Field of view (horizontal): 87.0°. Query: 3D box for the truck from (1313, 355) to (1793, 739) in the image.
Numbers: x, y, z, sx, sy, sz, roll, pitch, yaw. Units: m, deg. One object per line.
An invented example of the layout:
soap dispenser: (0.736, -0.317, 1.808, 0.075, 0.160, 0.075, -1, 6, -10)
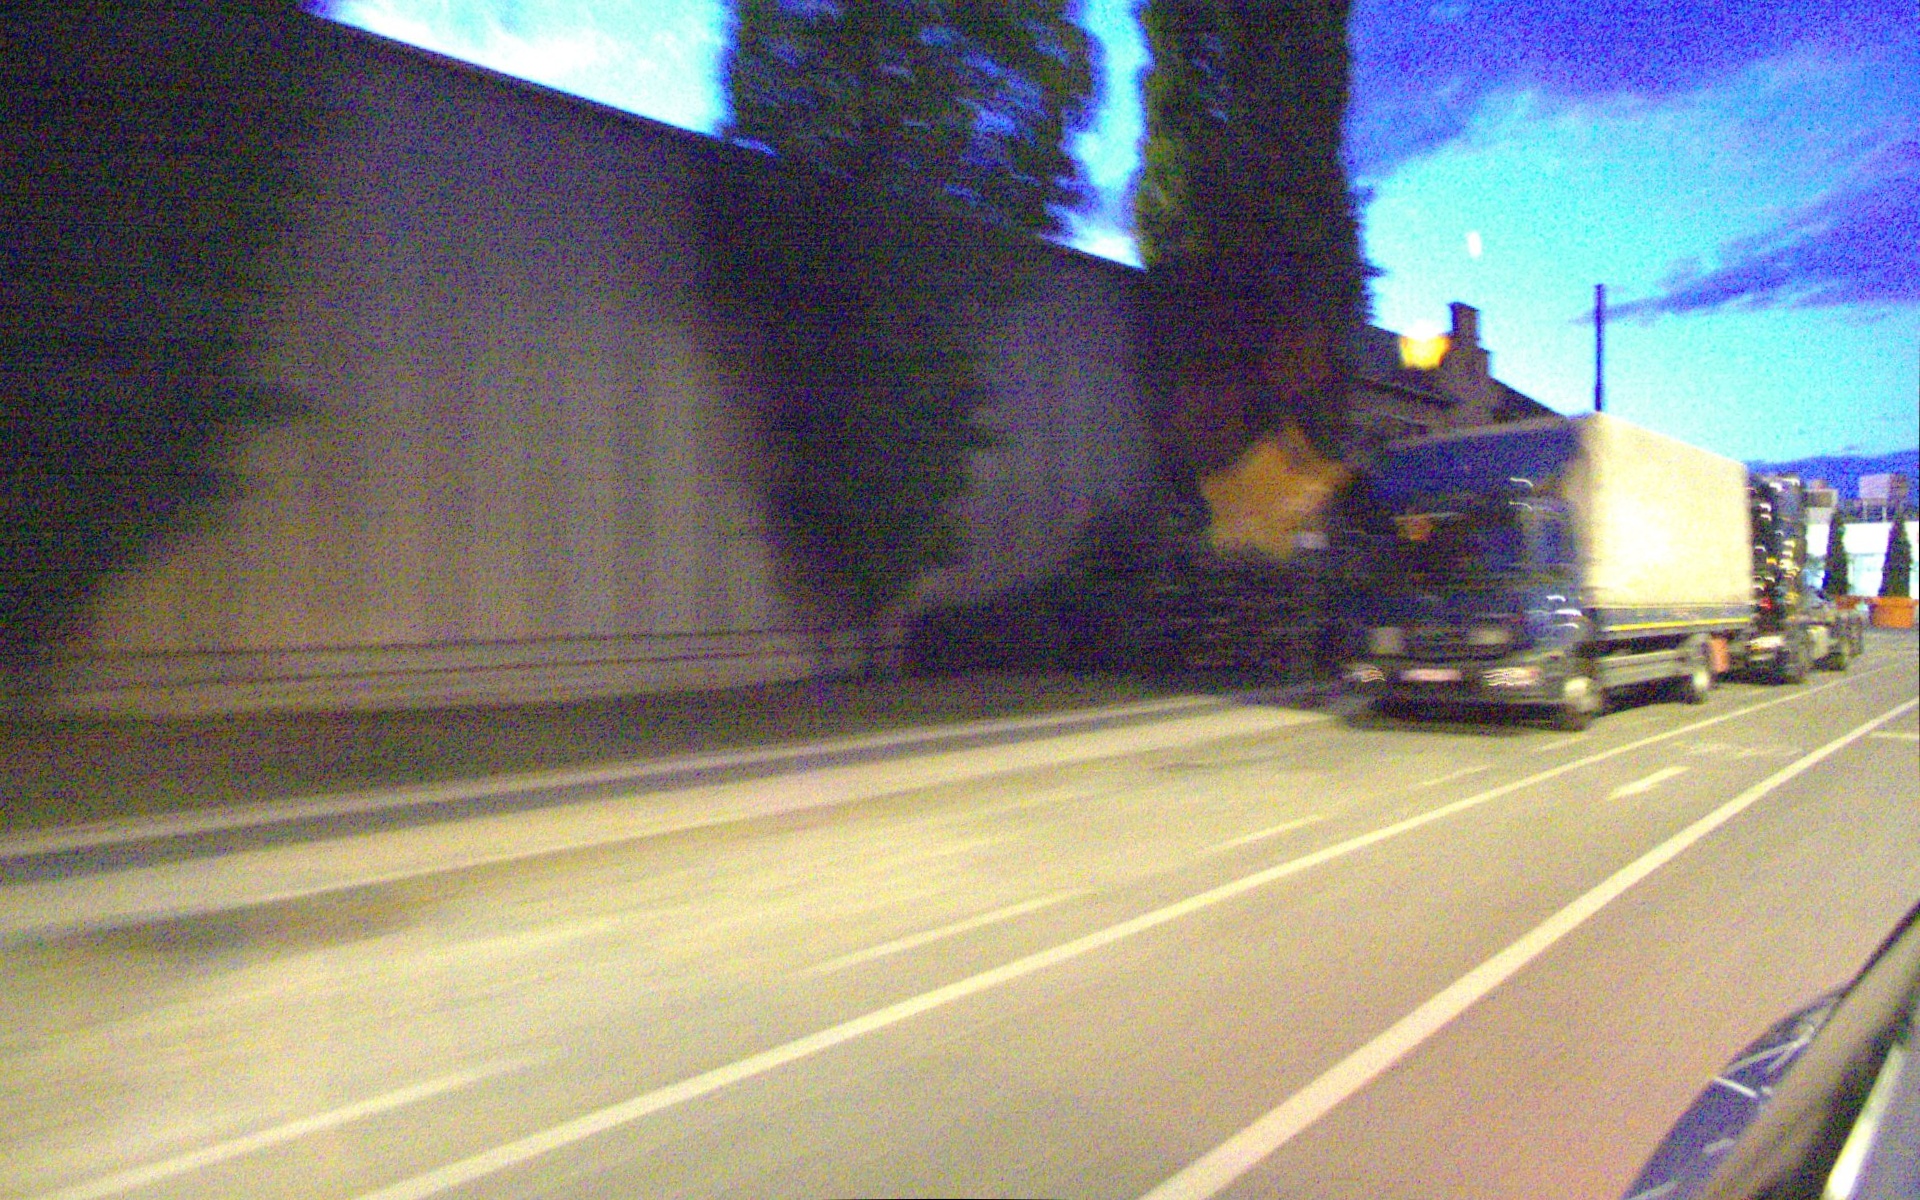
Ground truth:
truck: (8.962, -0.655, 14.414, 10.046, 3.830, 2.760, -2, 1, -40)

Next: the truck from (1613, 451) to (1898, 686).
truck: (16.383, -0.631, 20.517, 8.975, 3.830, 2.761, -2, 1, -40)

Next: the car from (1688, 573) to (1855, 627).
car: (28.906, -0.063, 36.169, 1.859, 1.666, 4.336, -1, 3, -40)
